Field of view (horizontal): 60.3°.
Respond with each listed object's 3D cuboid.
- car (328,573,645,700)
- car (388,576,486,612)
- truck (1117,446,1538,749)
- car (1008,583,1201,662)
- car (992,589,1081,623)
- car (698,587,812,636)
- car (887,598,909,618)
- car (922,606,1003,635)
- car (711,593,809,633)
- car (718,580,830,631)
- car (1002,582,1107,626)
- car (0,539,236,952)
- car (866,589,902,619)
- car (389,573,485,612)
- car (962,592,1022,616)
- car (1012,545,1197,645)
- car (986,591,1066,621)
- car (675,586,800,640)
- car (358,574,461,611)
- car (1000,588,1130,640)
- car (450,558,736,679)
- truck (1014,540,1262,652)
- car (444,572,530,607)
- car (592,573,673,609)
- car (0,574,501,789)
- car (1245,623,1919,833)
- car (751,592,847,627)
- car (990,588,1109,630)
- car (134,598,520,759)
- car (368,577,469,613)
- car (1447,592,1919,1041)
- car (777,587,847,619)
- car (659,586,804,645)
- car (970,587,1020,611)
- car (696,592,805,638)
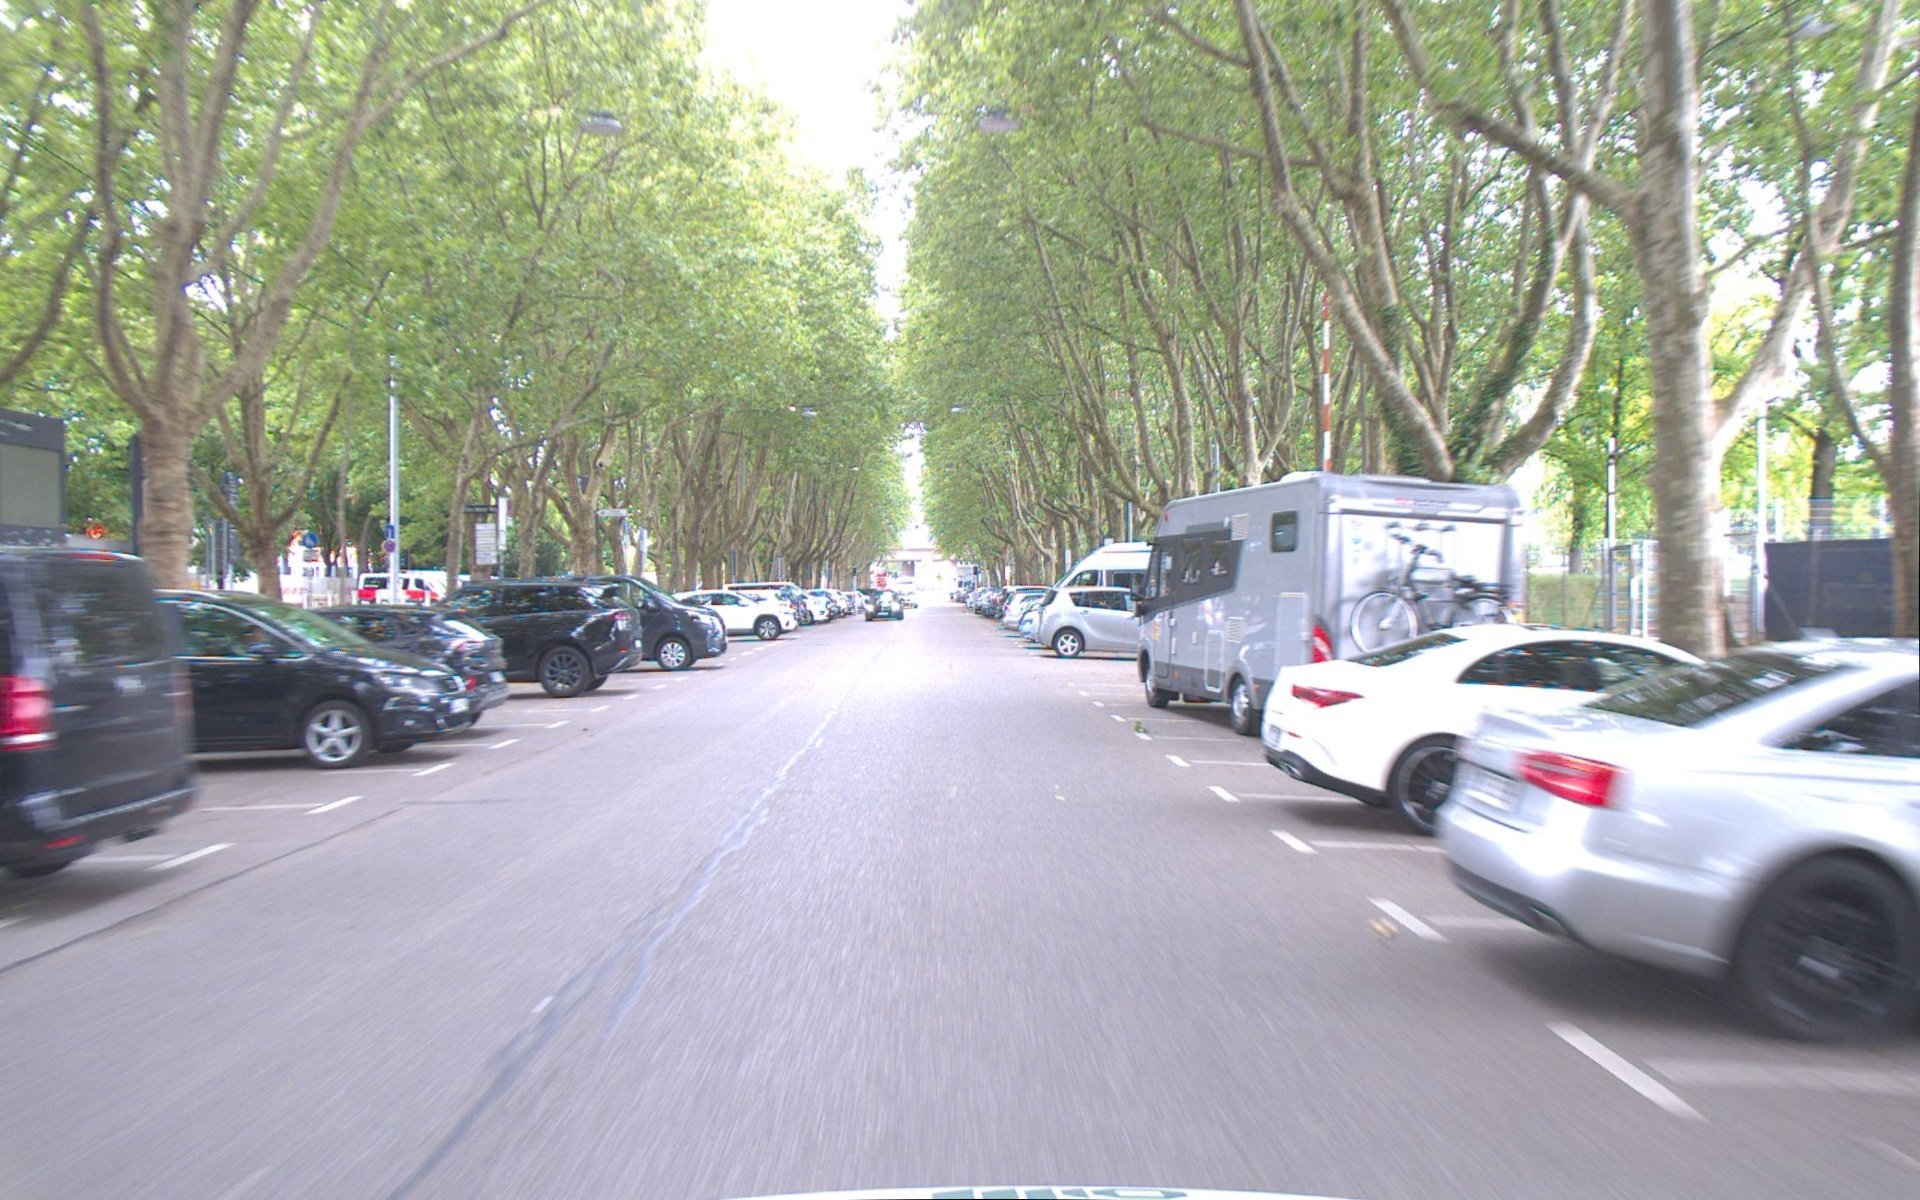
[{"bbox_3d":[-7.391,0.562,26.219,4.565,1.852,1.803,-1,-1,-8],"label":"car"},{"bbox_3d":[-34.977,-0.412,110.708,5.880,2.358,1.999,0,0,-2],"label":"car"},{"bbox_3d":[4.052,-0.037,20.239,2.413,2.989,7.522,0,0,-9],"label":"truck"},{"bbox_3d":[3.256,0.492,37.856,4.250,1.646,1.804,2,0,2],"label":"car"},{"bbox_3d":[3.469,0.273,75.224,3.907,1.512,1.693,0,0,-3],"label":"car"},{"bbox_3d":[-8.103,0.430,65.561,4.254,1.696,1.999,-3,0,-3],"label":"car"},{"bbox_3d":[-4.819,0.608,128.731,1.655,1.497,3.837,-2,0,-3],"label":"car"},{"bbox_3d":[0.109,1.073,86.349,4.127,1.476,1.610,0,0,-3],"label":"car"},{"bbox_3d":[-8.408,0.537,69.762,3.908,1.437,1.682,-3,0,-3],"label":"car"},{"bbox_3d":[-8.380,0.240,74.891,4.795,2.054,1.919,-2,0,-2],"label":"car"},{"bbox_3d":[3.989,0.161,70.294,4.296,1.786,1.800,1,0,-3],"label":"car"},{"bbox_3d":[-6.832,0.759,8.930,4.805,1.957,2.208,-2,0,0],"label":"car"},{"bbox_3d":[-3.817,0.172,82.385,1.622,1.387,4.108,-3,0,-4],"label":"car"},{"bbox_3d":[-35.797,-0.512,113.308,5.880,2.571,1.999,0,0,-2],"label":"car"},{"bbox_3d":[2.281,0.266,117.326,4.085,1.624,1.853,0,0,-5],"label":"car"},{"bbox_3d":[4.131,-0.151,47.838,5.122,2.736,1.957,1,0,-1],"label":"car"},{"bbox_3d":[3.206,0.293,80.636,3.750,1.413,1.693,0,0,-3],"label":"car"},{"bbox_3d":[-8.018,0.470,60.019,4.254,1.696,1.999,-3,0,-3],"label":"car"},{"bbox_3d":[-35.061,-0.483,105.395,5.880,2.292,1.999,0,0,-2],"label":"car"},{"bbox_3d":[3.333,0.451,52.993,4.035,1.454,1.703,2,0,1],"label":"car"},{"bbox_3d":[-7.388,0.341,33.700,5.327,2.165,1.939,-2,1,-3],"label":"car"},{"bbox_3d":[4.492,-0.110,42.462,6.163,2.762,2.098,0,0,2],"label":"truck"},{"bbox_3d":[-35.783,-0.820,125.283,5.880,2.571,1.999,0,0,-2],"label":"car"},{"bbox_3d":[-24.840,-0.708,125.602,5.668,2.642,2.000,0,0,-1],"label":"car"},{"bbox_3d":[-7.095,0.758,16.396,4.485,1.812,1.798,-3,1,0],"label":"car"},{"bbox_3d":[4.300,0.861,11.790,4.232,1.325,1.700,0,0,-1],"label":"car"},{"bbox_3d":[-7.792,0.450,80.121,4.355,1.478,1.775,-2,0,3],"label":"car"},{"bbox_3d":[3.390,0.345,63.222,4.412,1.552,1.702,1,0,-3],"label":"car"},{"bbox_3d":[-7.047,0.838,18.817,3.832,1.520,1.747,-3,0,-14],"label":"car"},{"bbox_3d":[-35.311,-0.312,107.900,5.880,2.292,1.999,0,0,-2],"label":"car"},{"bbox_3d":[4.314,0.858,6.505,4.269,1.470,1.613,4,0,3],"label":"car"},{"bbox_3d":[-8.231,0.164,92.307,3.751,1.656,1.951,-2,0,-4],"label":"car"},{"bbox_3d":[-7.164,0.471,52.149,4.292,1.624,1.999,-2,0,-3],"label":"car"},{"bbox_3d":[2.567,-0.083,123.029,3.574,1.696,1.518,0,0,-5],"label":"car"},{"bbox_3d":[-7.918,0.567,62.756,3.908,1.501,1.842,-3,0,-3],"label":"car"}]
